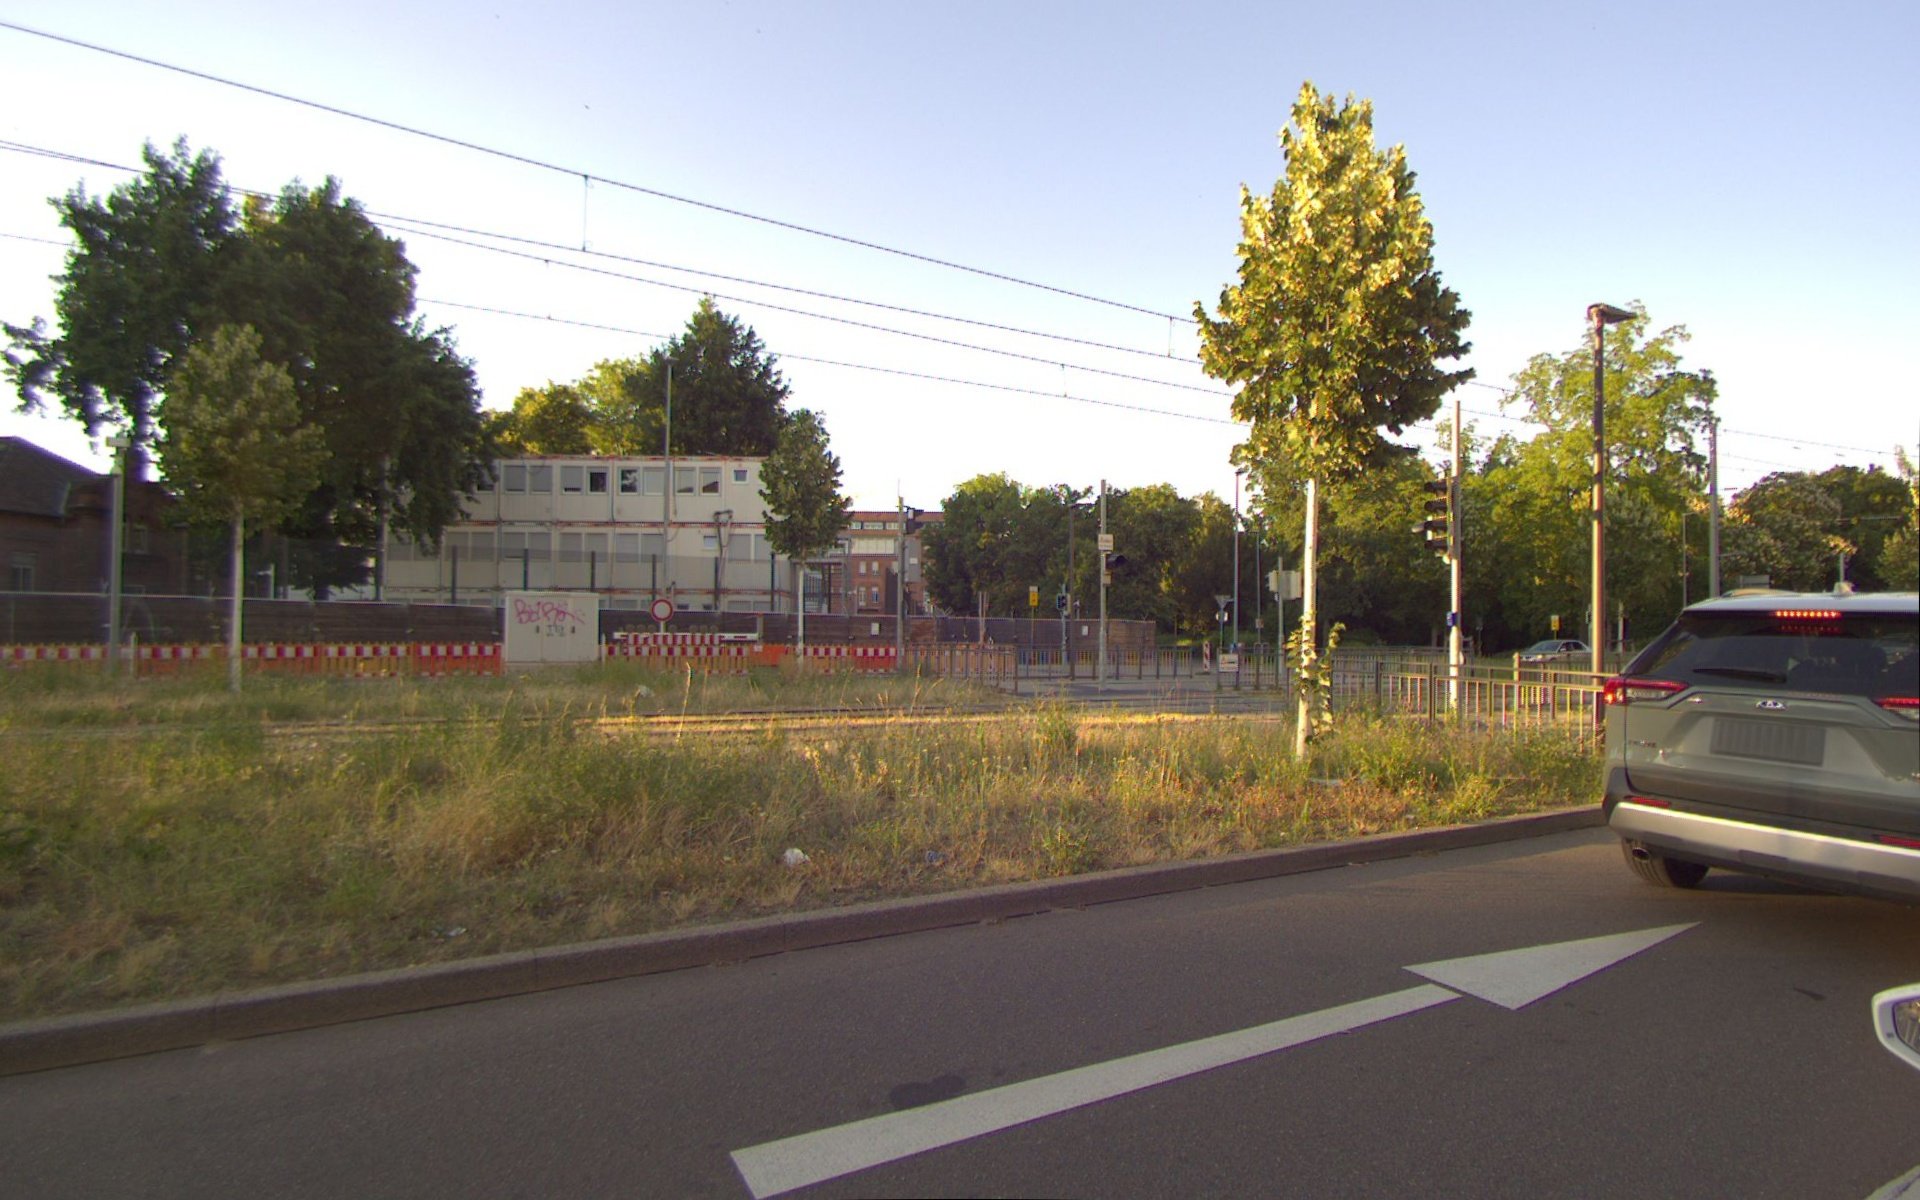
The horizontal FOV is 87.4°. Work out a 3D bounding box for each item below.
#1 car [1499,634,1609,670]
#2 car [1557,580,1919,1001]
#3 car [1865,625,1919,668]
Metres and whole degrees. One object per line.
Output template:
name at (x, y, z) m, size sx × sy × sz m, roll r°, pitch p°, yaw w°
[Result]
car at (27.494, 2.375, 46.485) m, size 4.451 × 1.501 × 1.992 m, roll 0°, pitch 0°, yaw -19°
car at (5.379, 0.767, 5.550) m, size 4.220 × 1.681 × 1.845 m, roll 0°, pitch 0°, yaw -32°
car at (51.814, 2.489, 55.168) m, size 4.698 × 2.197 × 1.982 m, roll 0°, pitch 0°, yaw -33°
